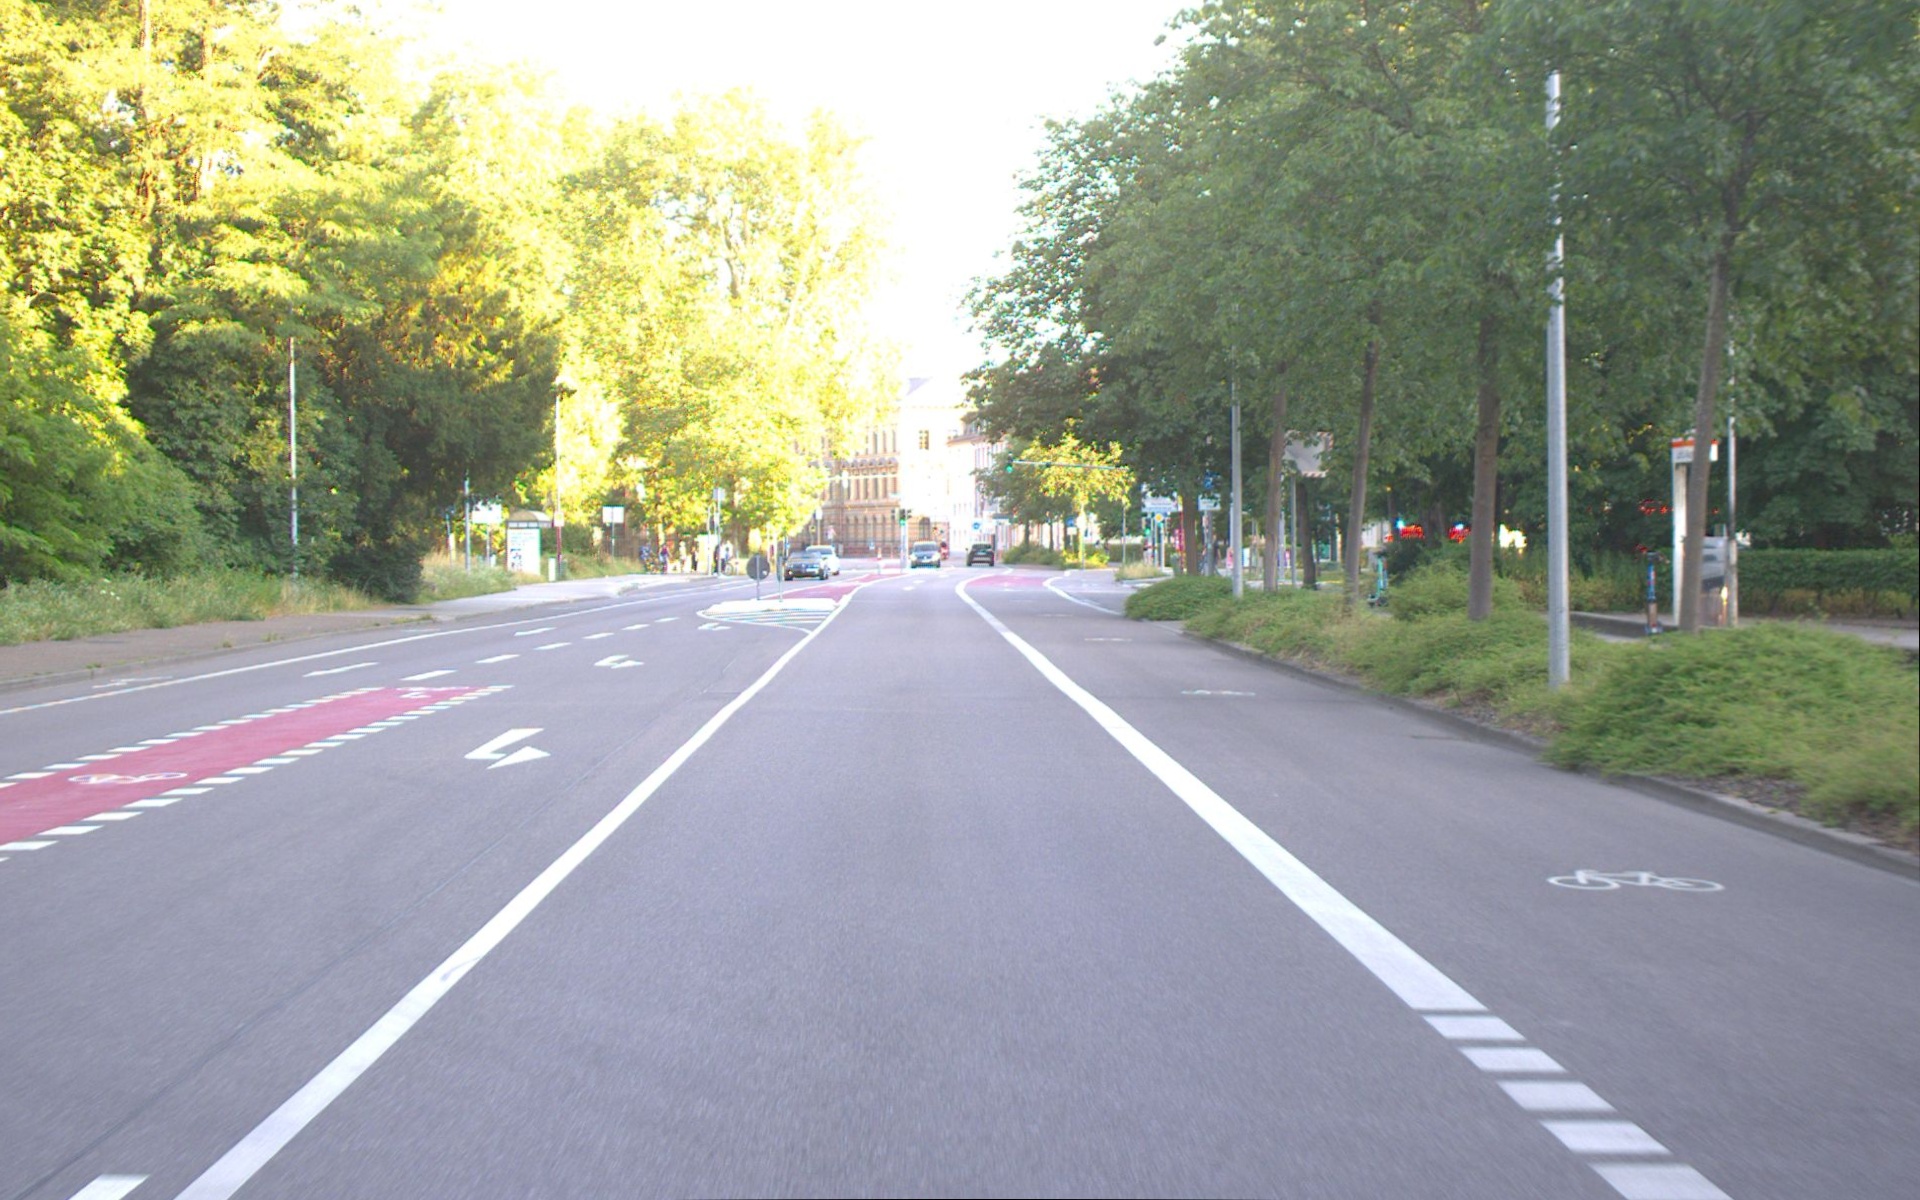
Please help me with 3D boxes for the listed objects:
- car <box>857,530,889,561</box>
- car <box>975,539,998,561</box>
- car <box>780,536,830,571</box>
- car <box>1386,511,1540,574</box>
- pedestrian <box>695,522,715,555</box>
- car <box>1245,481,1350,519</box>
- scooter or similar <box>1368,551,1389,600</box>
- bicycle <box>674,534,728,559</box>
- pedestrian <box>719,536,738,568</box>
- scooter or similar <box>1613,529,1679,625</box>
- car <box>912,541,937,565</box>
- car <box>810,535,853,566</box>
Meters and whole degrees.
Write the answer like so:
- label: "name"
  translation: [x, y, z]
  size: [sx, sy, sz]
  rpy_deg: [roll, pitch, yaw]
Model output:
- label: "car"
  translation: [-4.233, -2.647, 167.377]
  size: [1.493, 1.481, 3.491]
  rpy_deg: [0, 1, 0]
- label: "car"
  translation: [1.773, -3.321, 227.934]
  size: [1.493, 1.481, 3.491]
  rpy_deg: [0, 1, 0]
- label: "car"
  translation: [-6.629, -2.004, 147.287]
  size: [1.798, 1.448, 4.127]
  rpy_deg: [0, 1, 2]
- label: "car"
  translation: [16.403, -1.873, 112.301]
  size: [4.912, 1.983, 1.921]
  rpy_deg: [0, 1, 7]
- label: "pedestrian"
  translation: [-12.349, -2.963, 166.557]
  size: [0.791, 1.575, 0.745]
  rpy_deg: [1, 1, 9]
- label: "car"
  translation: [14.641, -4.323, 149.033]
  size: [4.460, 1.585, 1.715]
  rpy_deg: [0, 1, 7]
- label: "scooter or similar"
  translation: [8.988, -0.534, 73.859]
  size: [0.310, 1.038, 0.980]
  rpy_deg: [-1, 1, 0]
- label: "bicycle"
  translation: [-12.546, -2.602, 166.591]
  size: [2.463, 1.191, 0.757]
  rpy_deg: [0, 1, 9]
- label: "pedestrian"
  translation: [-11.673, -2.422, 173.591]
  size: [0.791, 1.575, 0.745]
  rpy_deg: [1, 1, 9]
- label: "scooter or similar"
  translation: [9.361, -0.322, 46.937]
  size: [0.597, 1.278, 1.469]
  rpy_deg: [-1, 1, 0]
- label: "car"
  translation: [-2.217, -2.920, 212.779]
  size: [1.493, 1.481, 3.491]
  rpy_deg: [0, 1, 0]
- label: "car"
  translation: [-6.196, -2.387, 165.726]
  size: [1.798, 1.448, 4.127]
  rpy_deg: [0, 1, 2]
